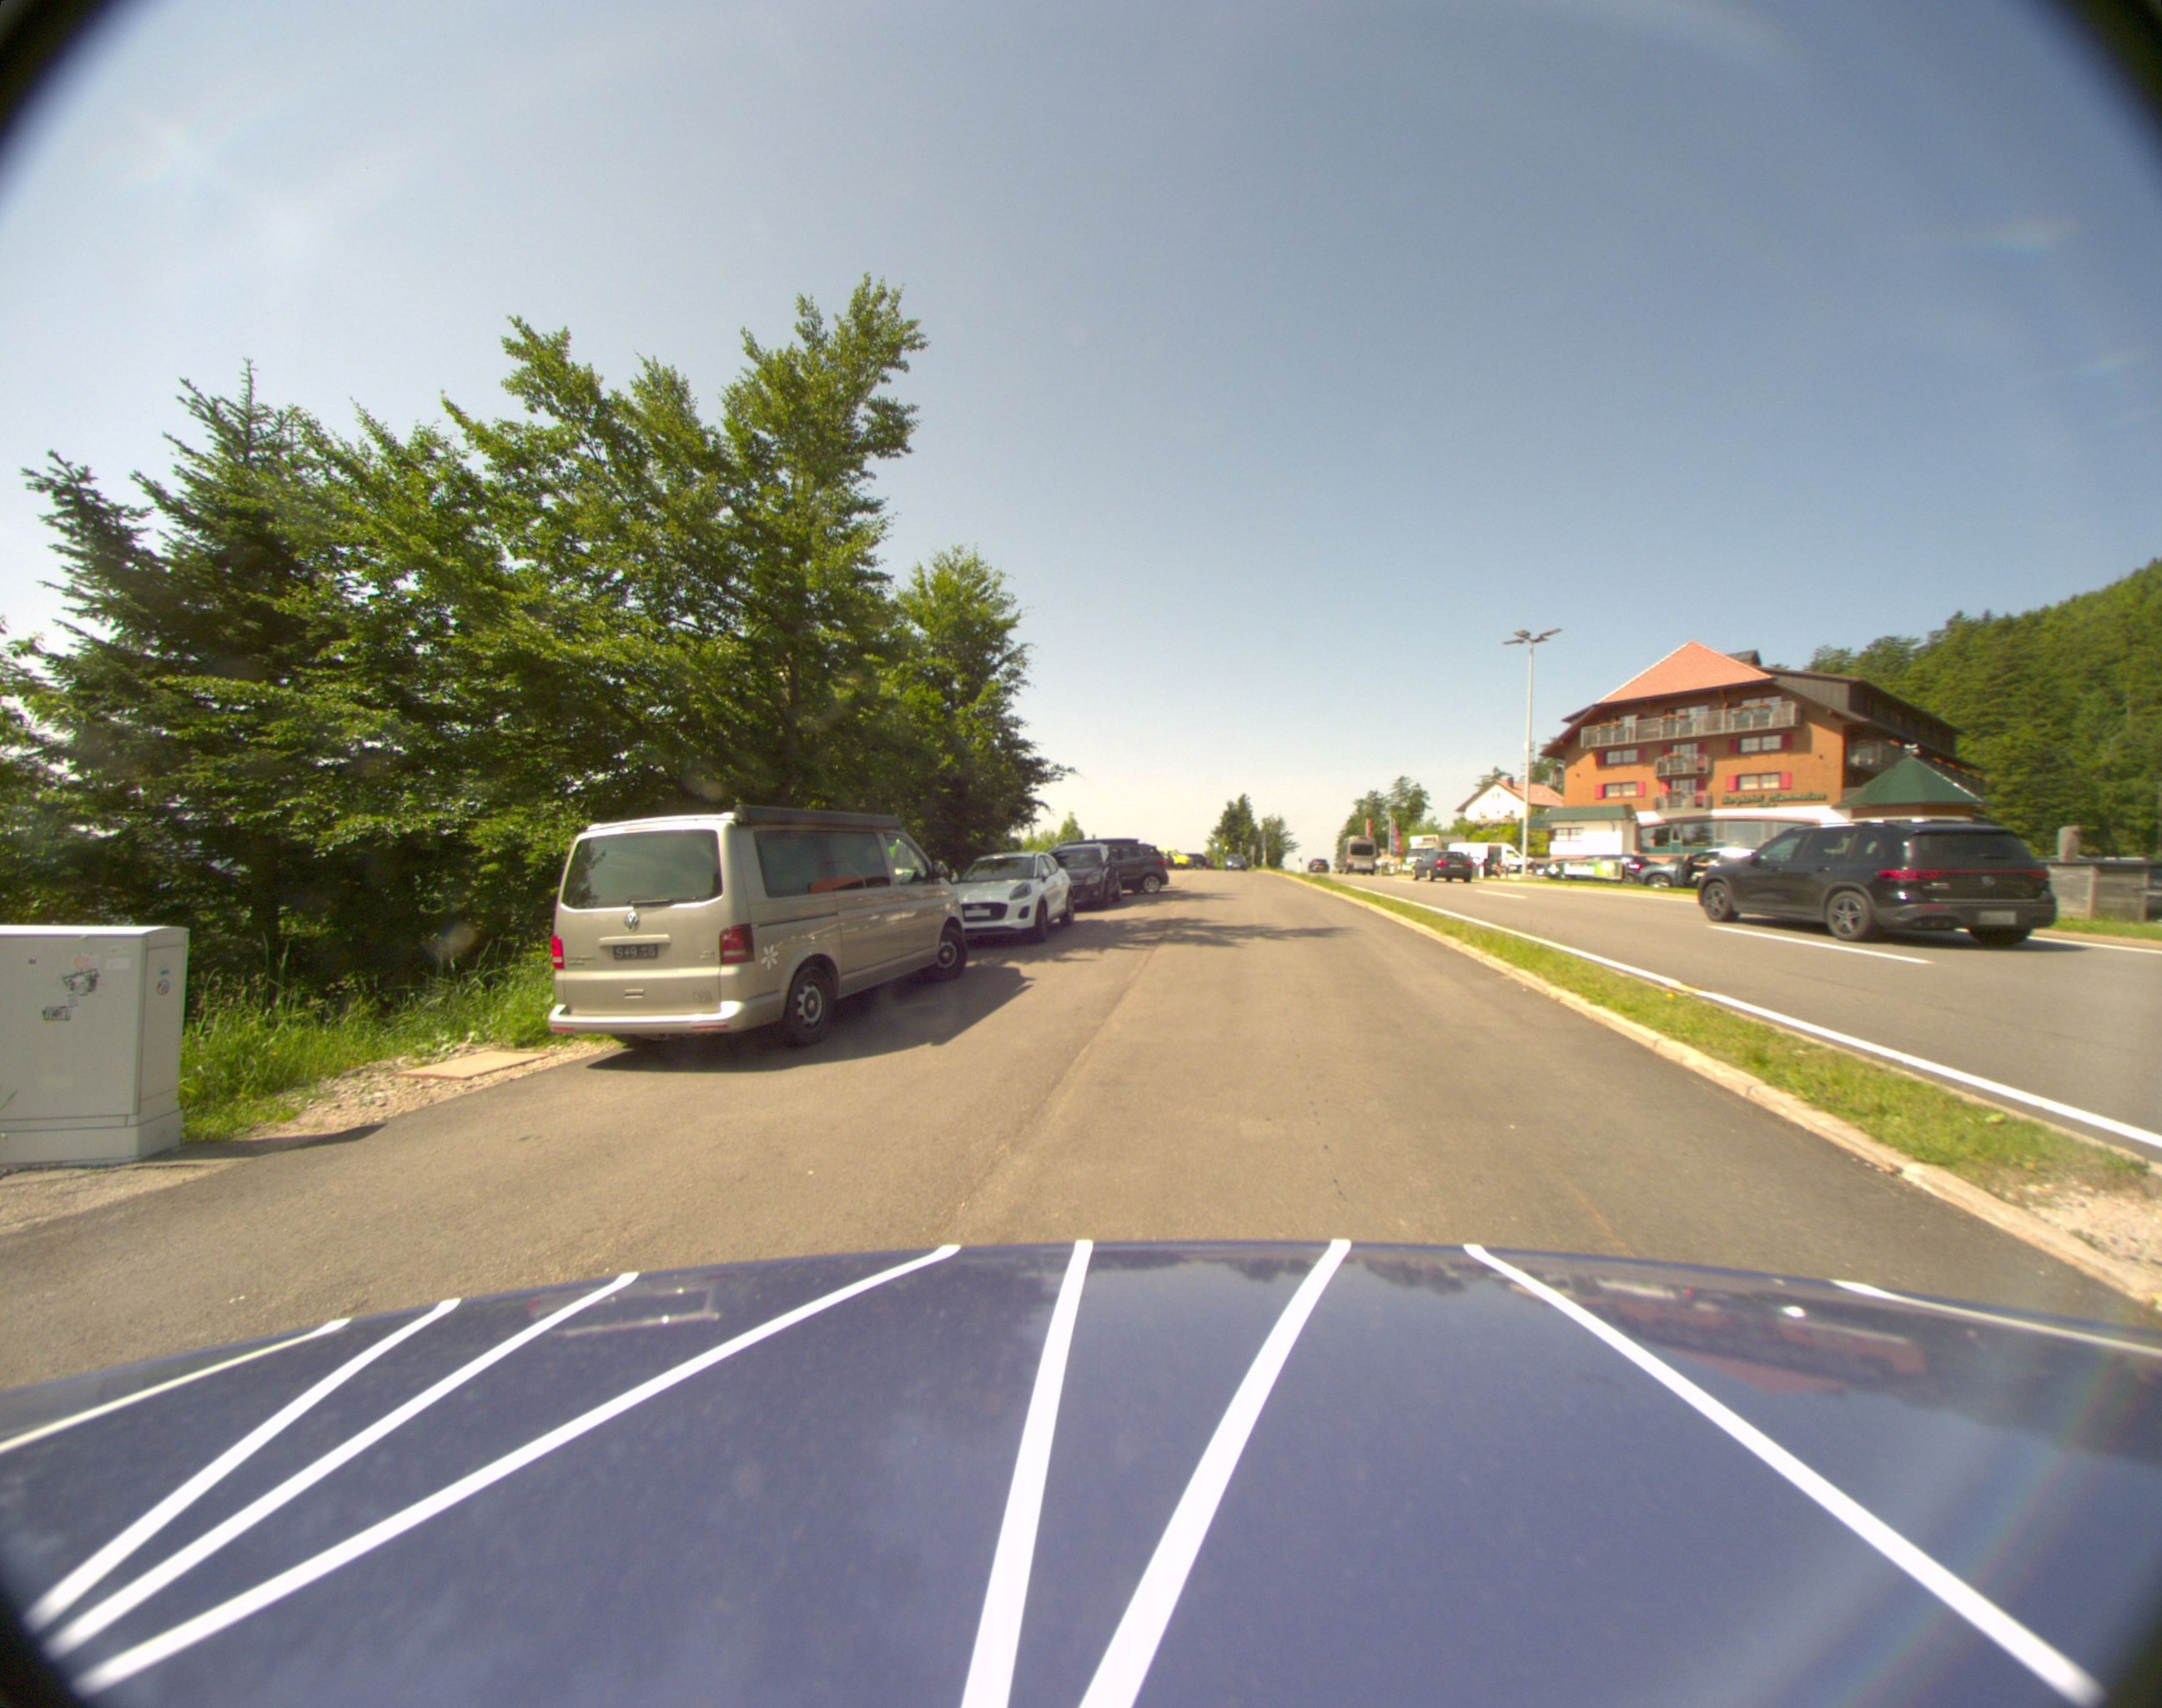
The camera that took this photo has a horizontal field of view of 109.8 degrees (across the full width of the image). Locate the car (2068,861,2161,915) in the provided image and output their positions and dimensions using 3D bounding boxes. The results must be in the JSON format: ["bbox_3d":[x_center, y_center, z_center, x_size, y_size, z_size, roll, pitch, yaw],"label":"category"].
[{"bbox_3d":[34.236,1.084,23.741,1.828,1.619,4.083,0,1,-37],"label":"car"}]

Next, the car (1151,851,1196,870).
[{"bbox_3d":[8.594,0.601,70.654,3.906,1.605,1.878,1,1,13],"label":"car"}]

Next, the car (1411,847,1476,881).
[{"bbox_3d":[16.471,0.415,34.756,1.708,1.429,4.453,1,1,12],"label":"car"}]

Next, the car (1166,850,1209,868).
[{"bbox_3d":[10.258,0.496,73.225,3.906,1.605,1.878,1,1,13],"label":"car"}]

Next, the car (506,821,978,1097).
[{"bbox_3d":[-2.822,0.755,7.750,1.860,1.924,4.613,-3,0,14],"label":"car"}]

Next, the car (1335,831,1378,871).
[{"bbox_3d":[20.226,-0.237,55.945,2.014,2.735,5.921,1,1,11],"label":"car"}]

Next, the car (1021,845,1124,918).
[{"bbox_3d":[-0.100,0.619,19.677,1.873,1.609,4.003,-3,0,10],"label":"car"}]

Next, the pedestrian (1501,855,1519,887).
[{"bbox_3d":[27.554,1.064,48.808,0.716,2.002,0.803,0,1,9],"label":"pedestrian"}]

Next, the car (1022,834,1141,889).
[{"bbox_3d":[-0.030,0.287,30.466,4.460,1.914,1.875,-3,1,-9],"label":"car"}]

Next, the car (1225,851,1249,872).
[{"bbox_3d":[13.122,0.594,63.919,1.873,1.605,3.916,1,1,11],"label":"car"}]

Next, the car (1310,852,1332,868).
[{"bbox_3d":[25.840,0.636,81.816,1.719,1.672,4.133,0,1,11],"label":"car"}]

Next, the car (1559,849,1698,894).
[{"bbox_3d":[22.569,0.664,31.474,1.828,1.619,4.258,0,1,-37],"label":"car"}]

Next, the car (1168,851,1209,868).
[{"bbox_3d":[10.735,0.567,75.795,3.906,1.605,1.878,1,1,13],"label":"car"}]

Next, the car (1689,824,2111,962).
[{"bbox_3d":[11.678,0.430,11.466,1.997,1.638,4.571,1,1,11],"label":"car"}]

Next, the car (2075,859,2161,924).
[{"bbox_3d":[28.923,0.977,20.771,4.102,1.619,1.819,0,1,-34],"label":"car"}]

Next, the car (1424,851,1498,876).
[{"bbox_3d":[25.795,0.595,51.662,1.828,1.518,4.082,0,2,-40],"label":"car"}]

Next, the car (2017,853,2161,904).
[{"bbox_3d":[35.814,0.811,26.355,1.828,1.619,4.083,0,1,-37],"label":"car"}]

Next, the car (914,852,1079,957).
[{"bbox_3d":[-1.345,0.801,13.908,1.873,1.538,4.003,-3,0,10],"label":"car"}]

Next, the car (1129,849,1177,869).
[{"bbox_3d":[6.197,0.409,65.062,3.906,1.605,1.878,1,1,13],"label":"car"}]

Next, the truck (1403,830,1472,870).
[{"bbox_3d":[35.884,-0.359,76.269,9.036,3.798,2.876,0,-1,-42],"label":"truck"}]

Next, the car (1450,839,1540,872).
[{"bbox_3d":[37.231,0.085,68.525,6.946,2.775,2.672,1,1,29],"label":"car"}]

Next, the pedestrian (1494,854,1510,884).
[{"bbox_3d":[28.053,1.011,50.653,0.716,2.002,0.803,0,1,9],"label":"pedestrian"}]

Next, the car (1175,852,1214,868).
[{"bbox_3d":[11.923,0.639,79.698,3.906,1.605,1.878,1,1,13],"label":"car"}]

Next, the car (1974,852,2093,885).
[{"bbox_3d":[54.339,0.787,43.396,1.924,1.706,4.083,0,1,-35],"label":"car"}]

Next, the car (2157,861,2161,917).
[{"bbox_3d":[33.101,1.072,20.817,1.828,1.619,4.083,0,1,-37],"label":"car"}]

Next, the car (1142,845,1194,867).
[{"bbox_3d":[7.754,0.152,67.528,4.452,1.914,1.878,1,1,13],"label":"car"}]

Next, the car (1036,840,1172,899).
[{"bbox_3d":[0.680,0.470,24.325,4.000,1.609,1.875,-3,1,-9],"label":"car"}]

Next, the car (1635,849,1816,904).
[{"bbox_3d":[21.314,0.674,25.291,1.828,1.619,4.258,0,1,-37],"label":"car"}]

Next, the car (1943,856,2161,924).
[{"bbox_3d":[24.098,0.809,18.673,1.719,1.422,4.003,1,1,11],"label":"car"}]
